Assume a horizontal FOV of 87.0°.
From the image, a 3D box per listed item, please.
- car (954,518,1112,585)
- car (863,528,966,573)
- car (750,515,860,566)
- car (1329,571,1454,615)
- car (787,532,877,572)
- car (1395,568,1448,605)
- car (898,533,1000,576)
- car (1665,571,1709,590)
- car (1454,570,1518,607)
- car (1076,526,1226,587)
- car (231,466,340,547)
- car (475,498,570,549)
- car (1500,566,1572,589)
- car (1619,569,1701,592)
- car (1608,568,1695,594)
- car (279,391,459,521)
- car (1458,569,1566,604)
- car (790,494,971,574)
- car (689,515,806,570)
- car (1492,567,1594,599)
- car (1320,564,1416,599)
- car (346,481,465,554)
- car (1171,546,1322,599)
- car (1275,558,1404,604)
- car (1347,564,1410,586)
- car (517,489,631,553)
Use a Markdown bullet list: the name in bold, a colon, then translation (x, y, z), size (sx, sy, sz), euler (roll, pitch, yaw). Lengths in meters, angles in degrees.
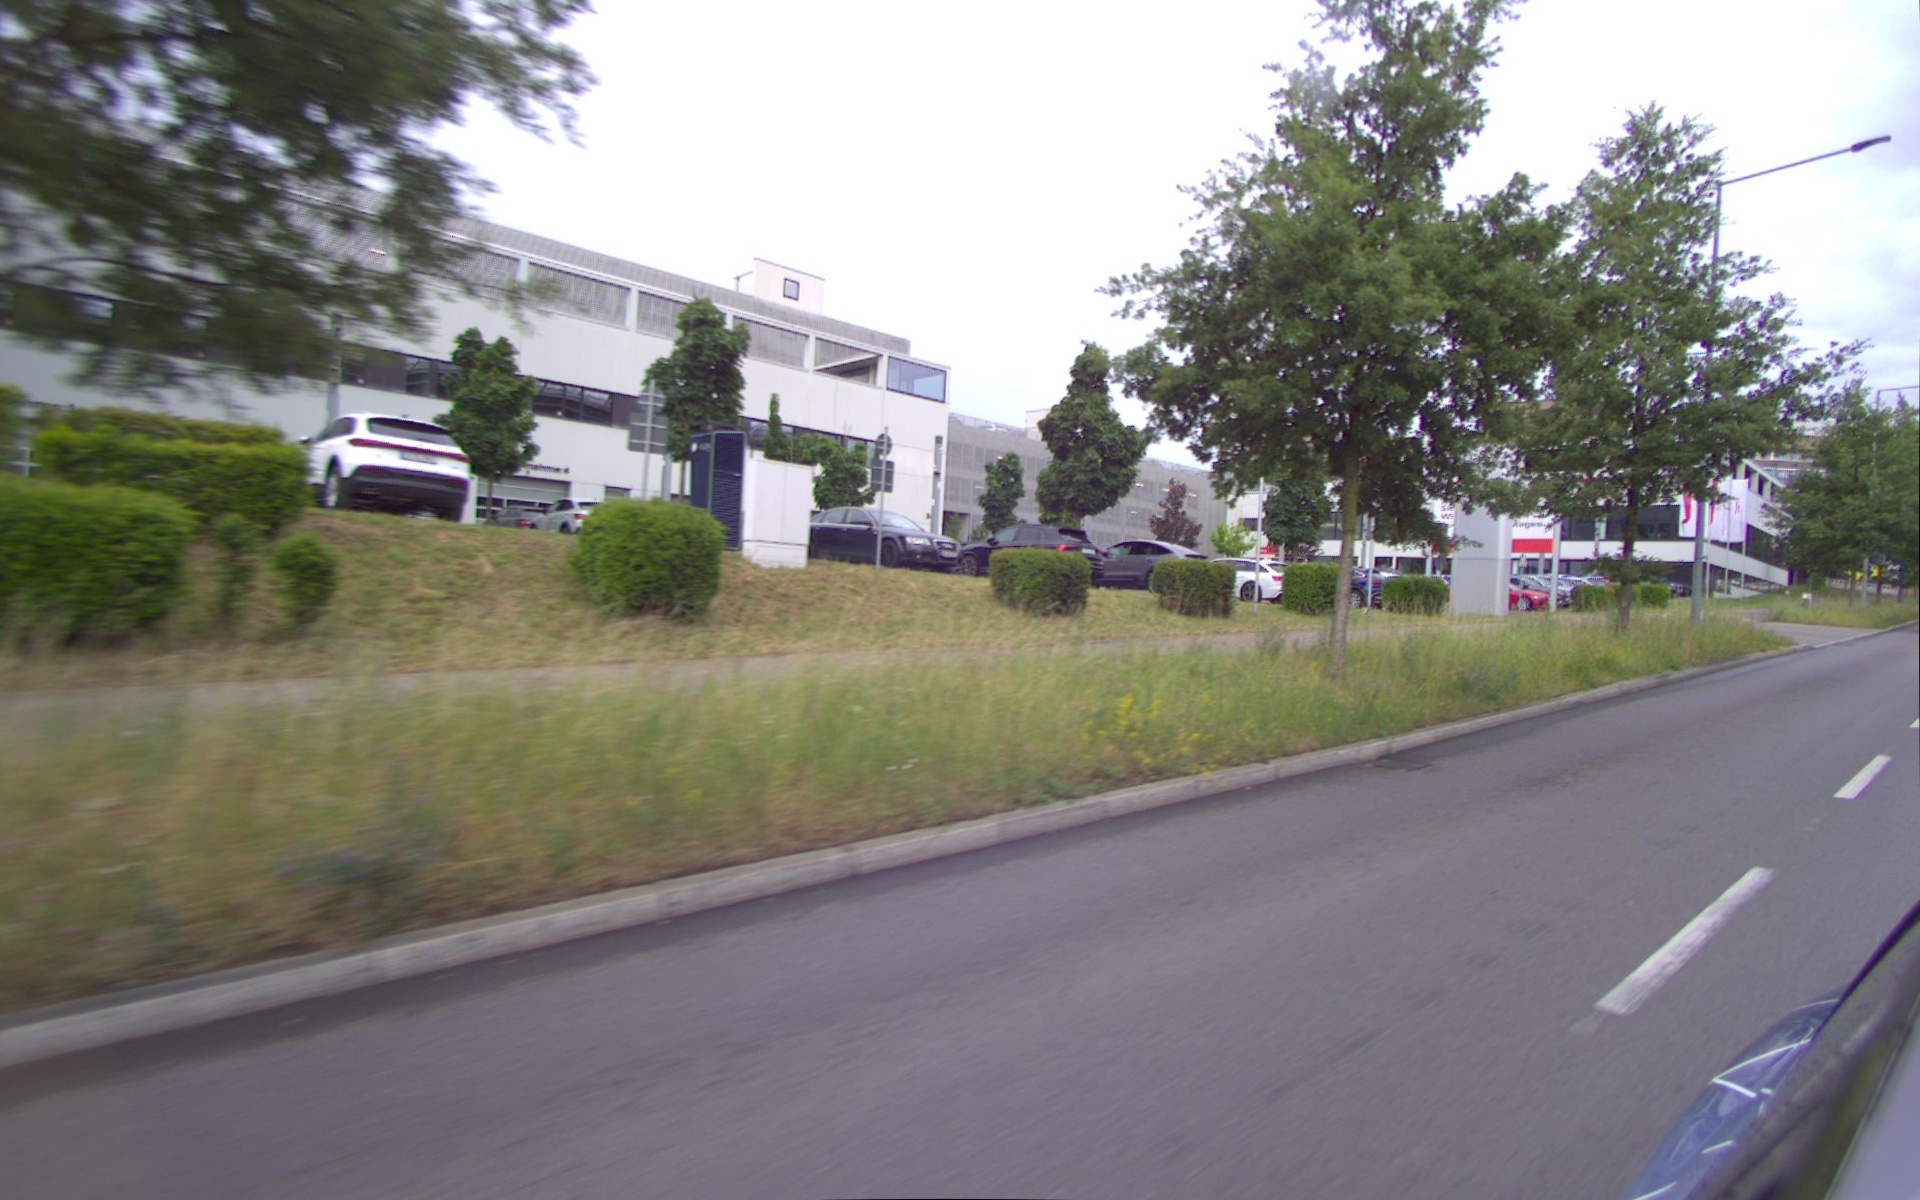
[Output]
- **car**: translation (1.829, -1.206, 26.415), size (1.664, 1.594, 4.110), euler (0, 1, -43)
- **car**: translation (-1.769, -1.868, 38.201), size (1.664, 1.593, 4.111), euler (-1, 3, -42)
- **car**: translation (-5.349, -1.996, 34.533), size (1.664, 1.593, 4.111), euler (1, 1, -43)
- **car**: translation (16.717, -0.319, 39.277), size (4.100, 1.613, 1.921), euler (2, 3, 40)
- **car**: translation (-5.421, -2.006, 42.643), size (1.664, 1.593, 4.110), euler (0, 2, -43)
- **car**: translation (22.640, -0.717, 49.784), size (1.747, 1.612, 3.546), euler (3, 3, 15)
- **car**: translation (-0.496, -1.785, 39.747), size (1.664, 1.593, 4.111), euler (1, 2, -43)
- **car**: translation (53.085, -1.435, 73.863), size (3.857, 1.354, 1.900), euler (-2, 3, -43)
- **car**: translation (24.640, -0.582, 47.559), size (1.812, 1.613, 4.339), euler (1, 3, 16)
- **car**: translation (5.504, -1.237, 29.512), size (1.664, 1.629, 4.111), euler (1, 1, -43)
- **car**: translation (-15.918, -2.112, 23.789), size (1.663, 1.594, 4.113), euler (0, 1, -40)
- **car**: translation (-14.368, -2.521, 33.175), size (1.668, 1.478, 3.595), euler (2, 2, -44)
- **car**: translation (42.202, -1.638, 74.206), size (1.797, 1.570, 4.281), euler (-2, 3, -44)
- **car**: translation (47.628, -1.336, 68.893), size (1.807, 1.395, 4.324), euler (-2, 4, -44)
- **car**: translation (45.853, -1.278, 67.200), size (2.005, 1.519, 4.405), euler (-1, 4, -42)
- **car**: translation (-9.743, -2.214, 16.534), size (1.664, 1.594, 4.264), euler (0, 1, -43)
- **car**: translation (27.935, -0.720, 51.262), size (4.462, 1.570, 1.901), euler (3, 3, 44)
- **car**: translation (-1.871, -1.388, 22.648), size (1.664, 1.594, 4.426), euler (0, 1, -43)
- **car**: translation (-6.850, -1.796, 32.385), size (1.795, 1.594, 4.110), euler (0, 1, -43)
- **car**: translation (31.944, -0.977, 55.544), size (1.899, 1.569, 4.468), euler (-2, 4, -42)
- **car**: translation (22.337, -1.054, 55.533), size (4.464, 1.569, 1.901), euler (6, 5, 44)
- **car**: translation (-14.237, -2.037, 25.900), size (1.730, 1.594, 4.110), euler (0, 1, -43)
- **car**: translation (9.248, -0.937, 32.943), size (1.664, 1.613, 4.526), euler (-2, 3, -43)
- **car**: translation (14.154, -0.717, 37.903), size (1.839, 1.614, 4.110), euler (2, 0, -43)
- **car**: translation (33.107, -1.979, 80.156), size (1.797, 1.613, 4.281), euler (-2, 3, -44)
- **car**: translation (-11.200, -2.211, 29.216), size (1.664, 1.594, 4.110), euler (0, 1, -43)
